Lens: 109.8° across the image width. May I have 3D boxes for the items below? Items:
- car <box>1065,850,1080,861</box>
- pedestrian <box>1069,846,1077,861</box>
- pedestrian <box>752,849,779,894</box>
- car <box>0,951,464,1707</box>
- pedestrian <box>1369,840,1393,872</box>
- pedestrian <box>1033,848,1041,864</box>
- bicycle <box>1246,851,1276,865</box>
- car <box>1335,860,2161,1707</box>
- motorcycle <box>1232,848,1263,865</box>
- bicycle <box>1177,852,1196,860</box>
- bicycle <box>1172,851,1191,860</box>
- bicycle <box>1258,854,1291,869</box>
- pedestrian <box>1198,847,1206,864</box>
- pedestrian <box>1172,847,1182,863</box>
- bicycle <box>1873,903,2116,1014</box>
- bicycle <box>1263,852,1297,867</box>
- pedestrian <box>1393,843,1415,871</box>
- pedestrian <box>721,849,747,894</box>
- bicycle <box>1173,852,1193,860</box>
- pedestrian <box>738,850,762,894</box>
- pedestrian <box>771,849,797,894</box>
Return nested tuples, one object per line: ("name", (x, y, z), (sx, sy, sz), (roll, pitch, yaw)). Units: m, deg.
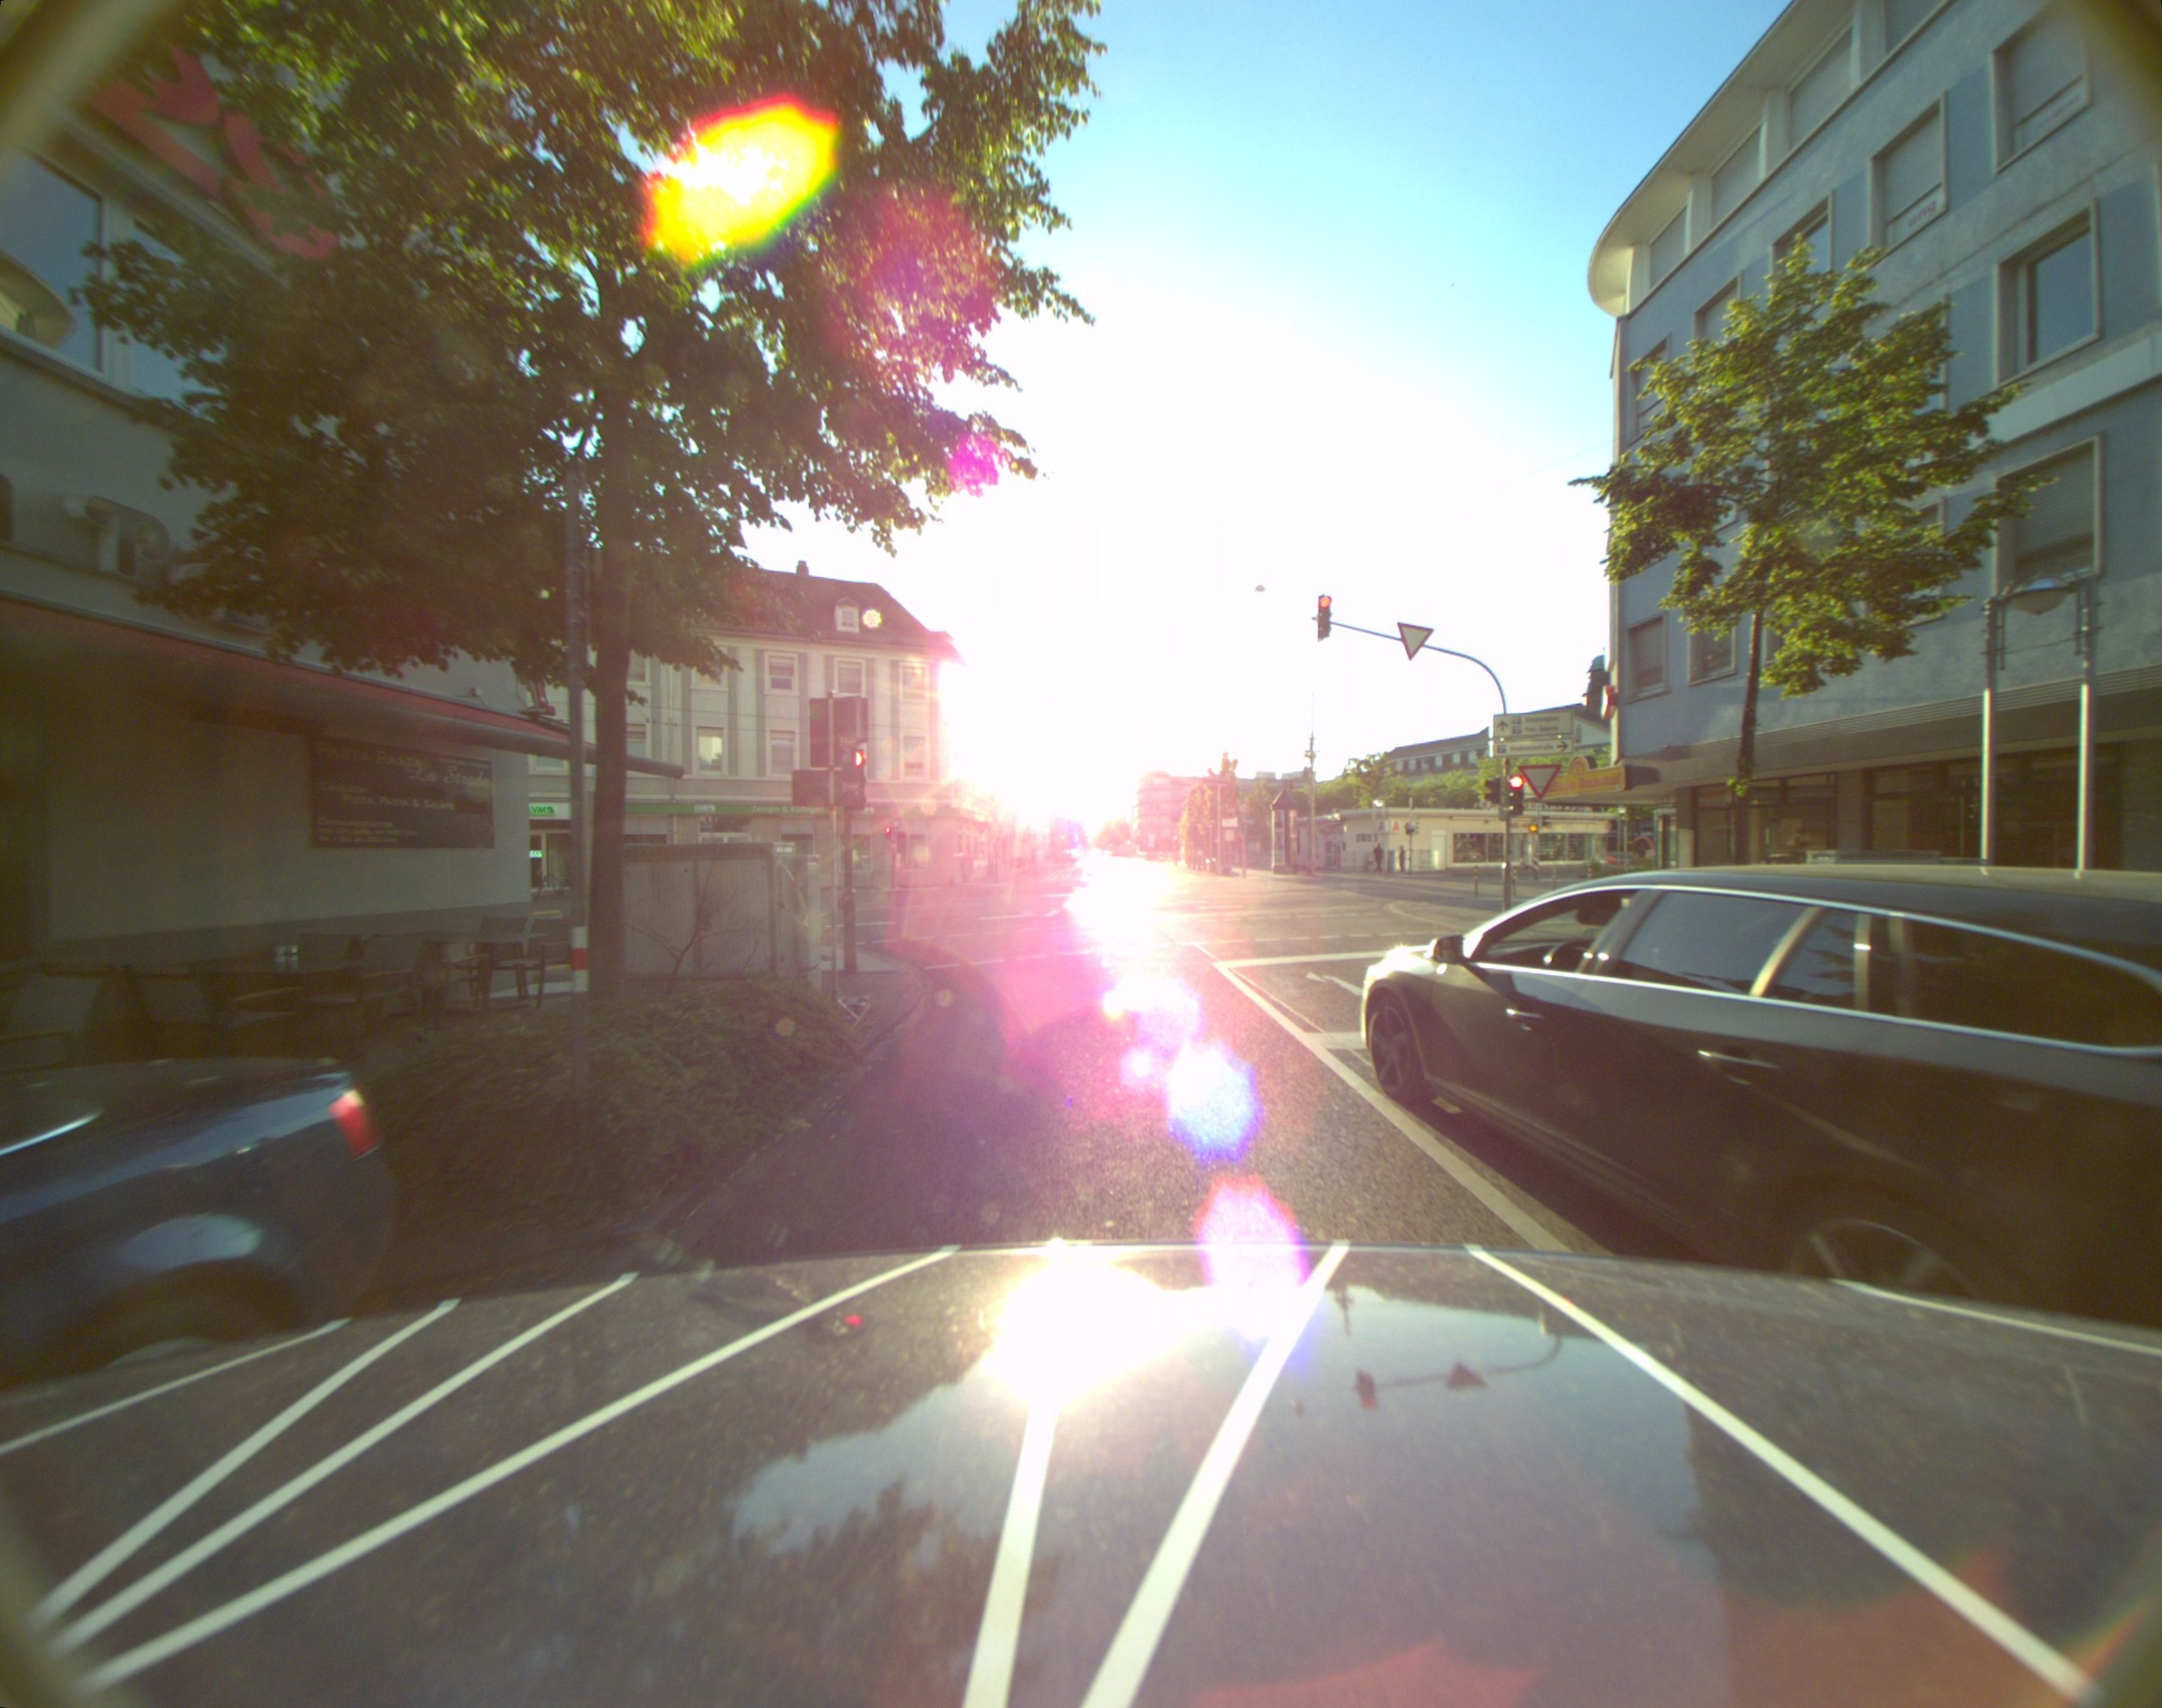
("car", (-1.266, 0.171, 114.078), (1.998, 1.538, 4.508), (-2, 1, 1))
("pedestrian", (-0.929, -0.046, 86.206), (0.842, 1.736, 0.700), (-2, 2, 0))
("pedestrian", (-12.934, 0.703, 31.138), (0.779, 1.802, 0.906), (-2, 2, -11))
("car", (-2.847, 1.047, 0.187), (1.942, 1.368, 4.181), (-3, 1, -1))
("pedestrian", (17.363, 0.120, 43.954), (0.908, 1.774, 0.879), (-3, 2, -23))
("pedestrian", (-4.730, 0.205, 81.696), (0.673, 1.775, 0.720), (1, 2, -16))
("bicycle", (14.310, 0.339, 60.526), (2.181, 1.081, 0.779), (0, 2, 0))
("car", (2.797, 0.806, 3.020), (1.963, 1.538, 4.509), (0, 0, -2))
("motorcycle", (13.936, 0.239, 63.771), (2.450, 1.358, 0.780), (-2, 0, 6))
("bicycle", (13.091, 0.241, 94.342), (2.398, 0.953, 0.672), (-2, 2, 8))
("bicycle", (12.807, 0.130, 97.060), (2.398, 1.065, 0.672), (-2, 2, 8))
("bicycle", (14.177, 0.545, 55.736), (2.221, 1.081, 0.779), (-1, 2, -6))
("pedestrian", (12.407, 0.128, 77.885), (0.778, 1.667, 0.907), (-2, 2, 8))
("pedestrian", (10.145, 0.122, 80.233), (0.905, 1.667, 0.780), (-1, 2, 12))
("bicycle", (9.330, 1.047, 7.786), (2.015, 0.986, 0.491), (-2, 2, -3))
("bicycle", (14.280, 0.390, 54.610), (2.196, 1.081, 0.779), (-1, 2, -6))
("pedestrian", (19.524, 0.188, 45.926), (0.781, 1.667, 0.904), (-3, 2, -34))
("pedestrian", (-13.980, 0.710, 30.589), (0.688, 1.762, 0.763), (-3, 2, -40))
("bicycle", (12.833, 0.225, 95.406), (2.398, 0.953, 0.672), (-2, 2, 8))
("pedestrian", (-13.585, 0.741, 31.179), (0.685, 1.762, 0.628), (-3, 2, -40))
("pedestrian", (-12.155, 0.700, 31.136), (0.779, 1.762, 0.906), (-2, 2, -11))
